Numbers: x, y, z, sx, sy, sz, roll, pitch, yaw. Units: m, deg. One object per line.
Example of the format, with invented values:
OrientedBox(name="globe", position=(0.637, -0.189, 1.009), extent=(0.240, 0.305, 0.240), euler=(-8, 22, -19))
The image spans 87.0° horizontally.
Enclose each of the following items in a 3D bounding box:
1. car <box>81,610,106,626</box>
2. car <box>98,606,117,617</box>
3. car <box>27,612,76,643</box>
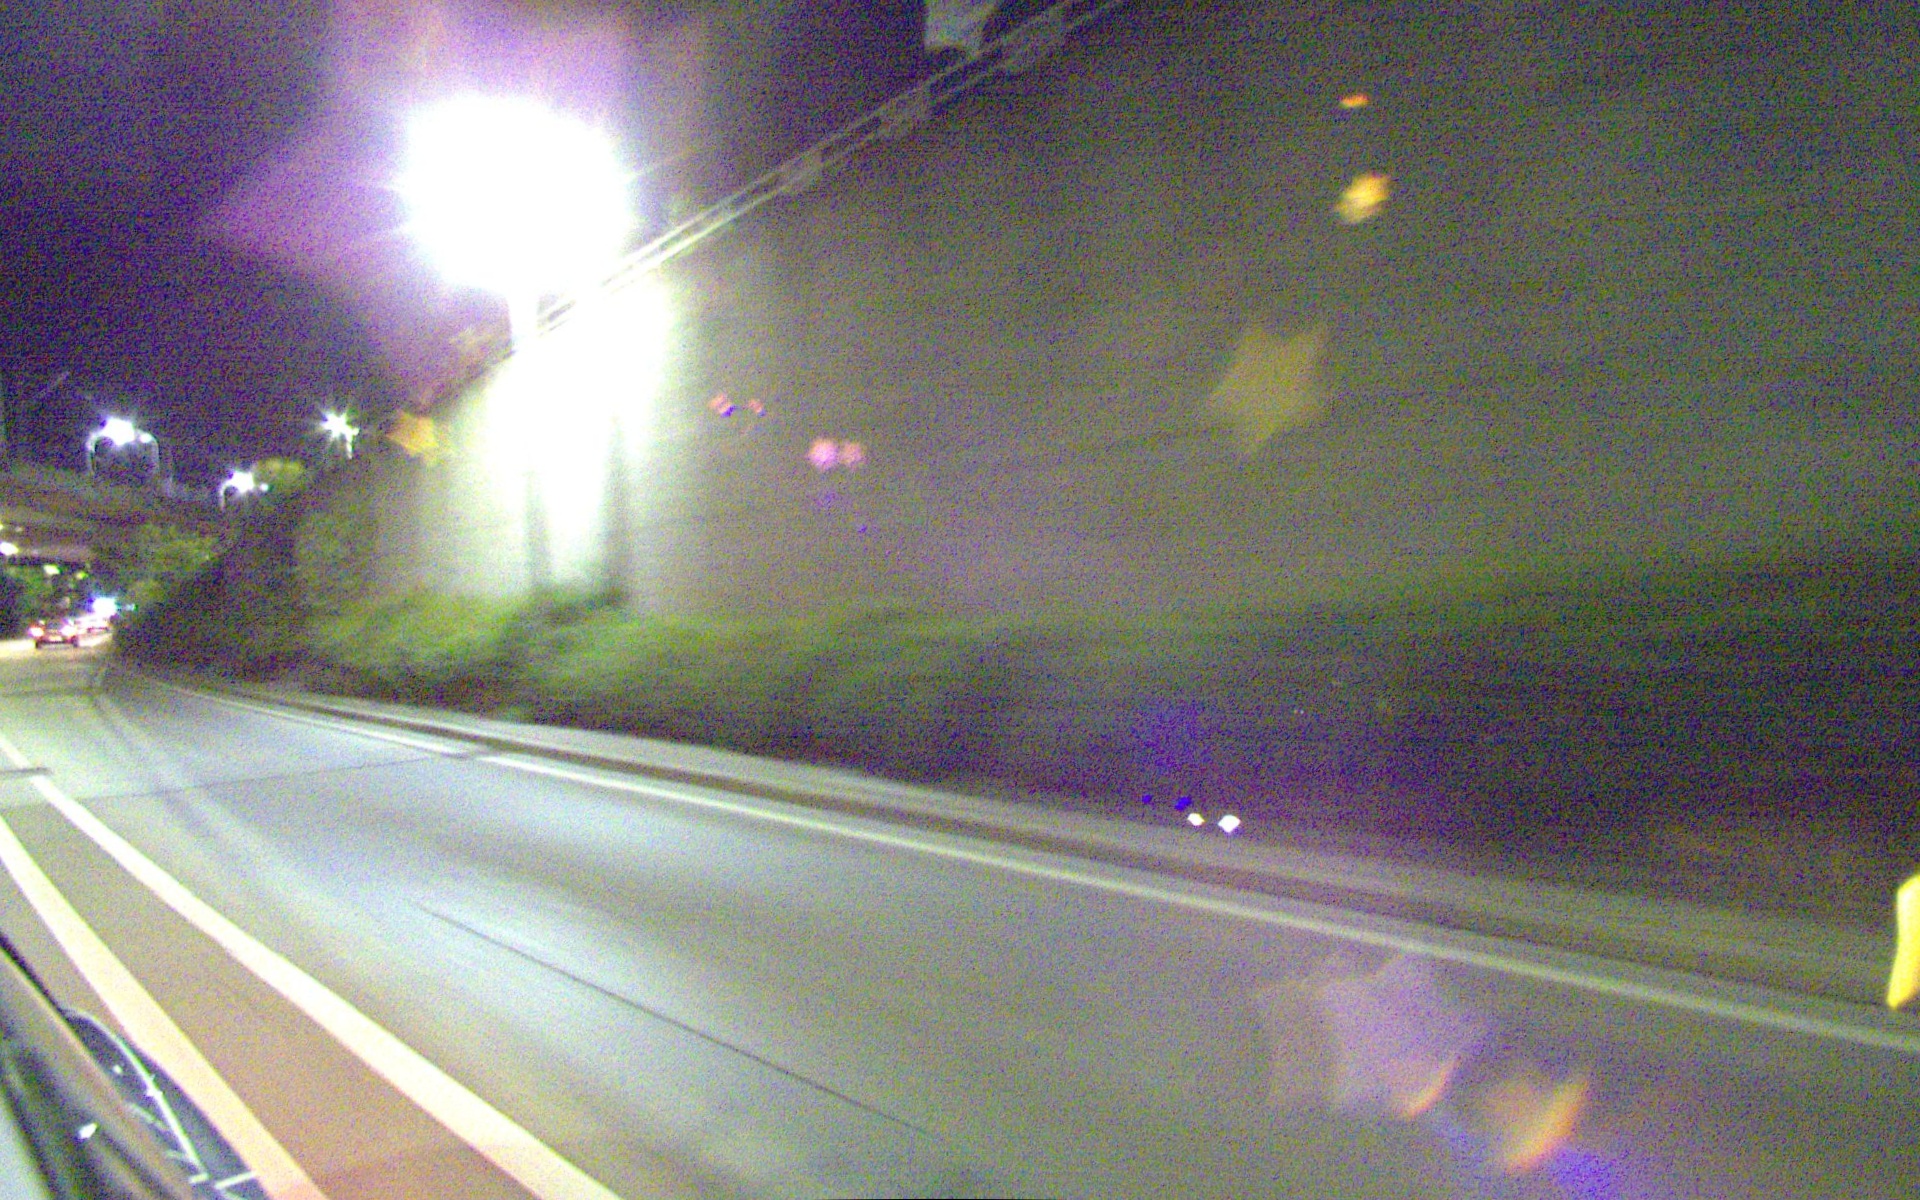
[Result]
OrientedBox(name="car", position=(-92.428, 1.902, 108.016), extent=(1.765, 1.458, 4.181), euler=(-4, 3, -38))
OrientedBox(name="car", position=(-132.414, 1.823, 157.209), extent=(1.857, 1.566, 4.229), euler=(-3, 2, -34))
OrientedBox(name="car", position=(-48.344, 1.438, 53.931), extent=(1.836, 1.521, 4.006), euler=(-2, 1, -41))
